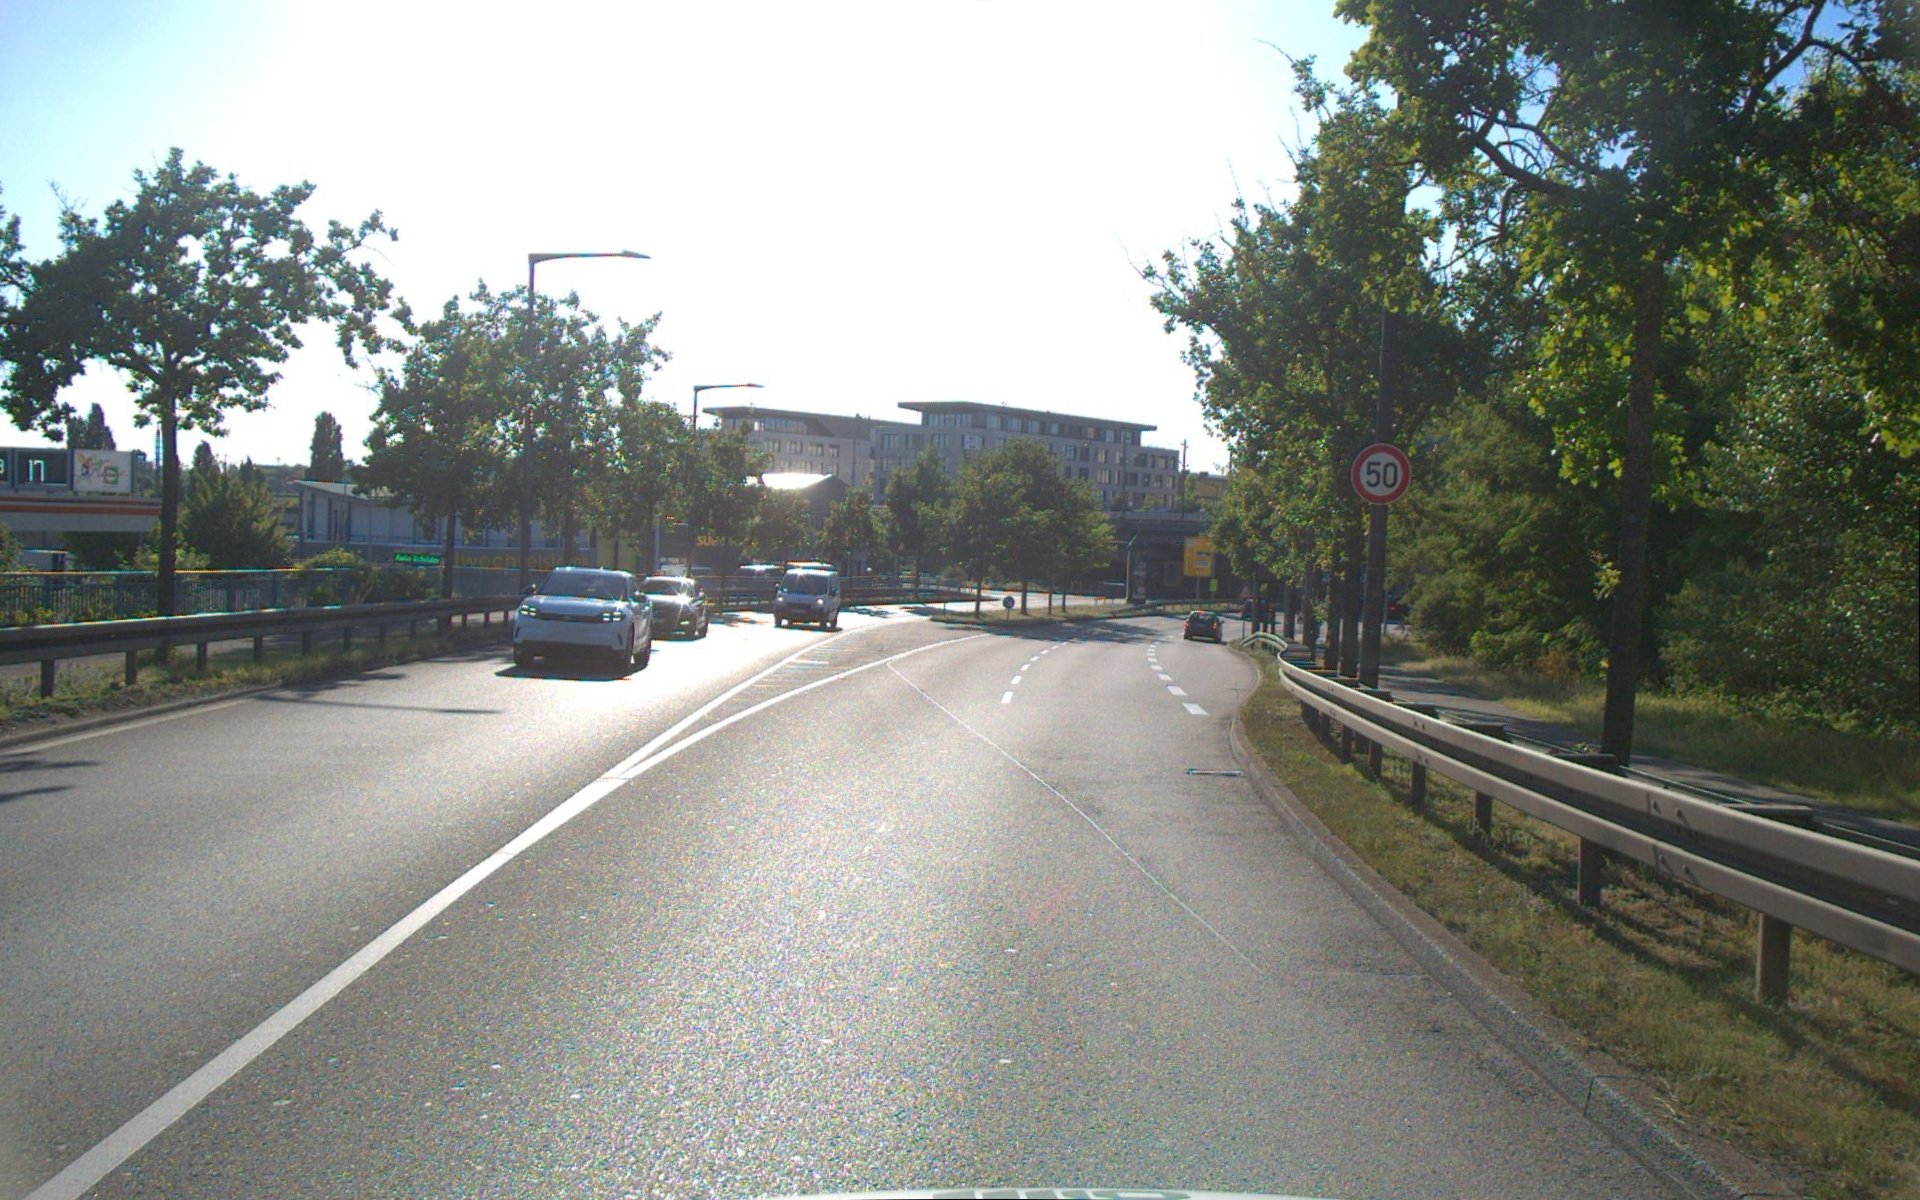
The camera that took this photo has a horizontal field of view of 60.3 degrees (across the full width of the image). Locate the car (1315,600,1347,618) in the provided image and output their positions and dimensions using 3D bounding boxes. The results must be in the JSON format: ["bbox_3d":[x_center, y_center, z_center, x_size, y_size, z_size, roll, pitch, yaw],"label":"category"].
[{"bbox_3d":[30.219,0.736,134.573,1.519,1.448,3.409,0,1,32],"label":"car"}]

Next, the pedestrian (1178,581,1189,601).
[{"bbox_3d":[22.269,-0.924,164.691,0.683,1.936,0.662,4,2,39],"label":"pedestrian"}]

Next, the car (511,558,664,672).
[{"bbox_3d":[-6.182,0.253,27.961,1.793,1.617,4.643,5,-1,-5],"label":"car"}]

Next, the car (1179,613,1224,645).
[{"bbox_3d":[12.243,1.440,83.758,1.951,1.534,4.003,1,0,12],"label":"car"}]

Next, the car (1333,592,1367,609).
[{"bbox_3d":[34.631,0.088,146.831,1.809,1.466,3.664,0,0,33],"label":"car"}]

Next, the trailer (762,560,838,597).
[{"bbox_3d":[-9.616,-1.256,99.949,2.368,2.004,6.611,4,1,14],"label":"trailer"}]

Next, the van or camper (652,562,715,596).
[{"bbox_3d":[-18.084,-1.376,108.080,1.985,1.959,4.162,3,0,-44],"label":"van or camper"}]

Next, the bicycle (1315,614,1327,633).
[{"bbox_3d":[20.982,1.336,96.145,0.566,0.980,2.889,3,1,12],"label":"bicycle"}]

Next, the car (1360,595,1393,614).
[{"bbox_3d":[38.237,0.409,151.827,1.808,1.749,3.990,0,0,31],"label":"car"}]

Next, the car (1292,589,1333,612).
[{"bbox_3d":[29.888,0.044,140.178,1.798,1.768,4.447,4,2,34],"label":"car"}]

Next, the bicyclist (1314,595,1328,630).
[{"bbox_3d":[21.018,0.731,96.193,0.667,1.939,0.834,3,1,11],"label":"bicyclist"}]

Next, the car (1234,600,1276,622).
[{"bbox_3d":[21.085,0.822,118.158,1.554,1.432,3.821,5,2,32],"label":"car"}]

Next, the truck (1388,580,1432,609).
[{"bbox_3d":[42.897,-0.491,157.710,1.996,2.600,5.513,4,2,37],"label":"truck"}]

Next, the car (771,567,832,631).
[{"bbox_3d":[-5.497,-0.047,57.819,1.840,2.049,5.257,2,0,-3],"label":"car"}]

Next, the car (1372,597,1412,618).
[{"bbox_3d":[35.501,0.609,135.907,1.711,1.479,4.591,5,4,34],"label":"car"}]

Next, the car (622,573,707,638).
[{"bbox_3d":[-7.493,0.126,42.287,1.738,1.491,4.378,3,0,-6],"label":"car"}]
